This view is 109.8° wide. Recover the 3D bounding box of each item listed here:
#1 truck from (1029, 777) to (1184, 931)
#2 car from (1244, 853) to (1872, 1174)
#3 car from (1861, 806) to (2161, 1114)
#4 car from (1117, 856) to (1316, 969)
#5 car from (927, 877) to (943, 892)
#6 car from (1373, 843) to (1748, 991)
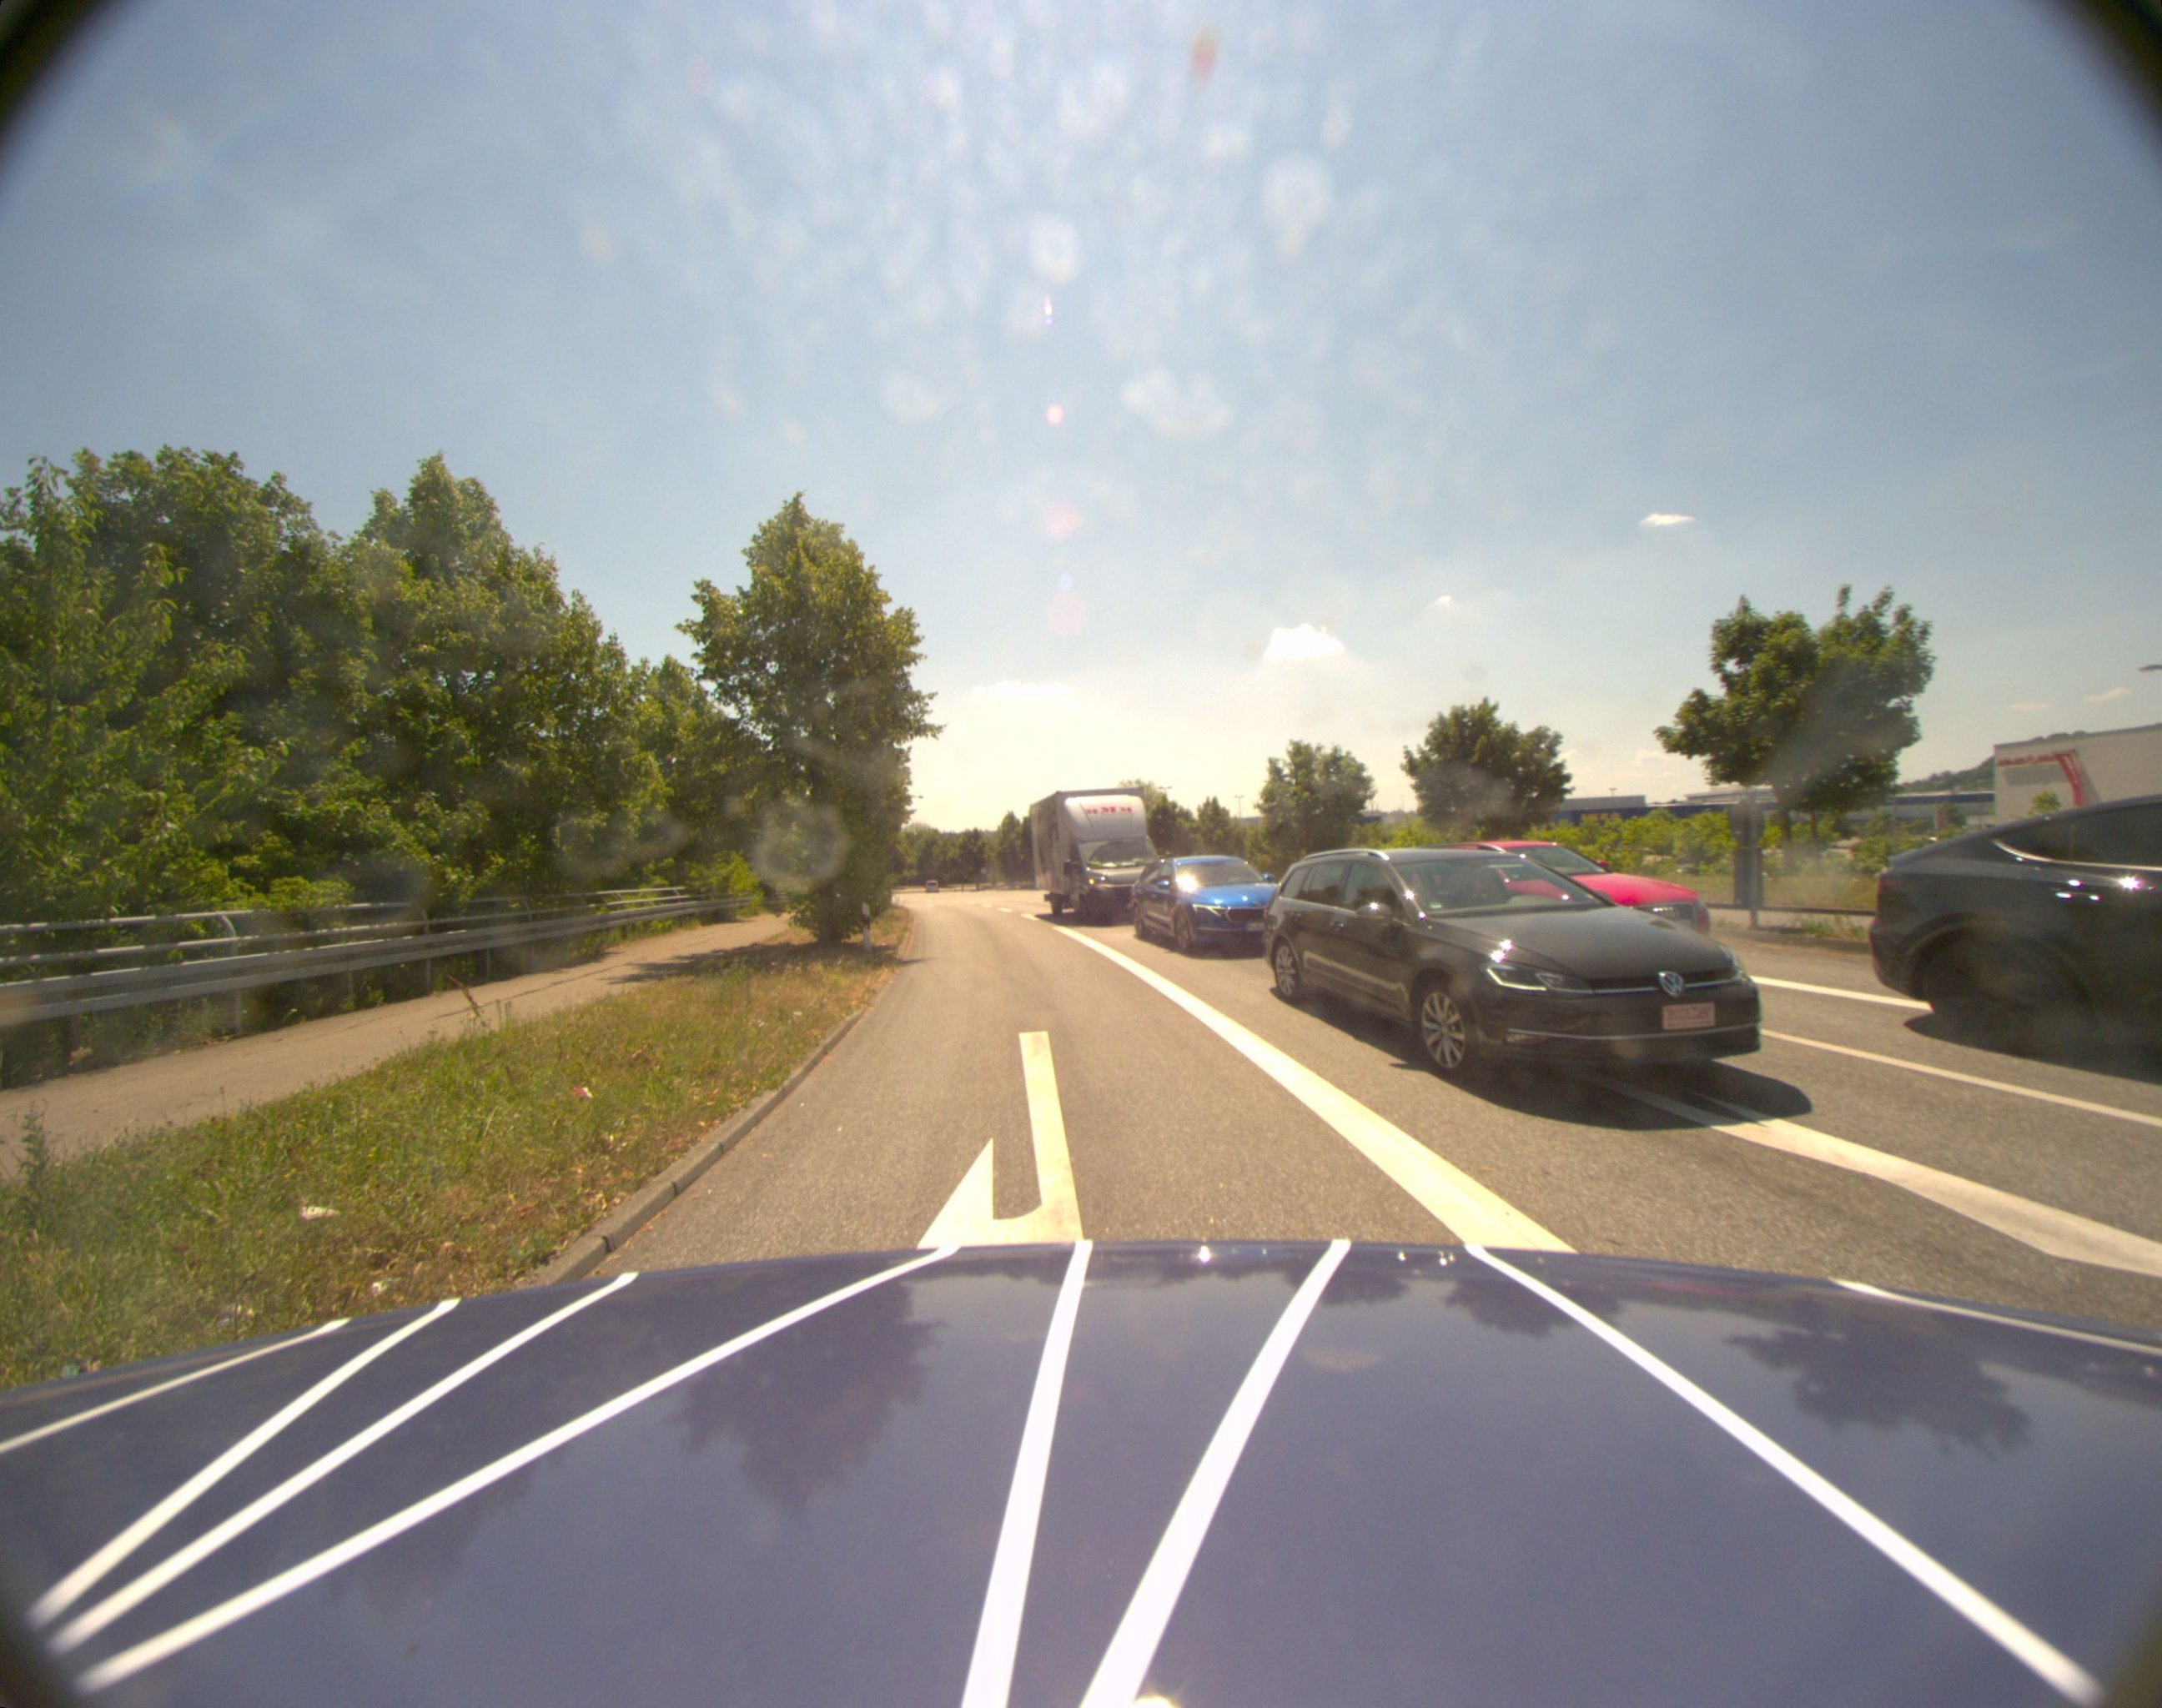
[{"bbox_3d":[0.349,0.063,20.488,2.416,3.327,7.197,-3,-1,-12],"label":"truck"},{"bbox_3d":[2.895,0.773,5.984,1.783,1.474,4.426,-3,0,-6],"label":"car"},{"bbox_3d":[6.649,0.525,3.171,1.881,1.592,4.502,-3,1,-7],"label":"car"},{"bbox_3d":[2.014,0.837,12.745,1.713,1.454,4.485,-3,0,-11],"label":"car"},{"bbox_3d":[-20.369,4.217,105.978,2.001,1.949,3.995,-3,1,-14],"label":"car"},{"bbox_3d":[5.764,0.618,9.948,1.666,1.380,4.446,-4,1,-7],"label":"car"}]
